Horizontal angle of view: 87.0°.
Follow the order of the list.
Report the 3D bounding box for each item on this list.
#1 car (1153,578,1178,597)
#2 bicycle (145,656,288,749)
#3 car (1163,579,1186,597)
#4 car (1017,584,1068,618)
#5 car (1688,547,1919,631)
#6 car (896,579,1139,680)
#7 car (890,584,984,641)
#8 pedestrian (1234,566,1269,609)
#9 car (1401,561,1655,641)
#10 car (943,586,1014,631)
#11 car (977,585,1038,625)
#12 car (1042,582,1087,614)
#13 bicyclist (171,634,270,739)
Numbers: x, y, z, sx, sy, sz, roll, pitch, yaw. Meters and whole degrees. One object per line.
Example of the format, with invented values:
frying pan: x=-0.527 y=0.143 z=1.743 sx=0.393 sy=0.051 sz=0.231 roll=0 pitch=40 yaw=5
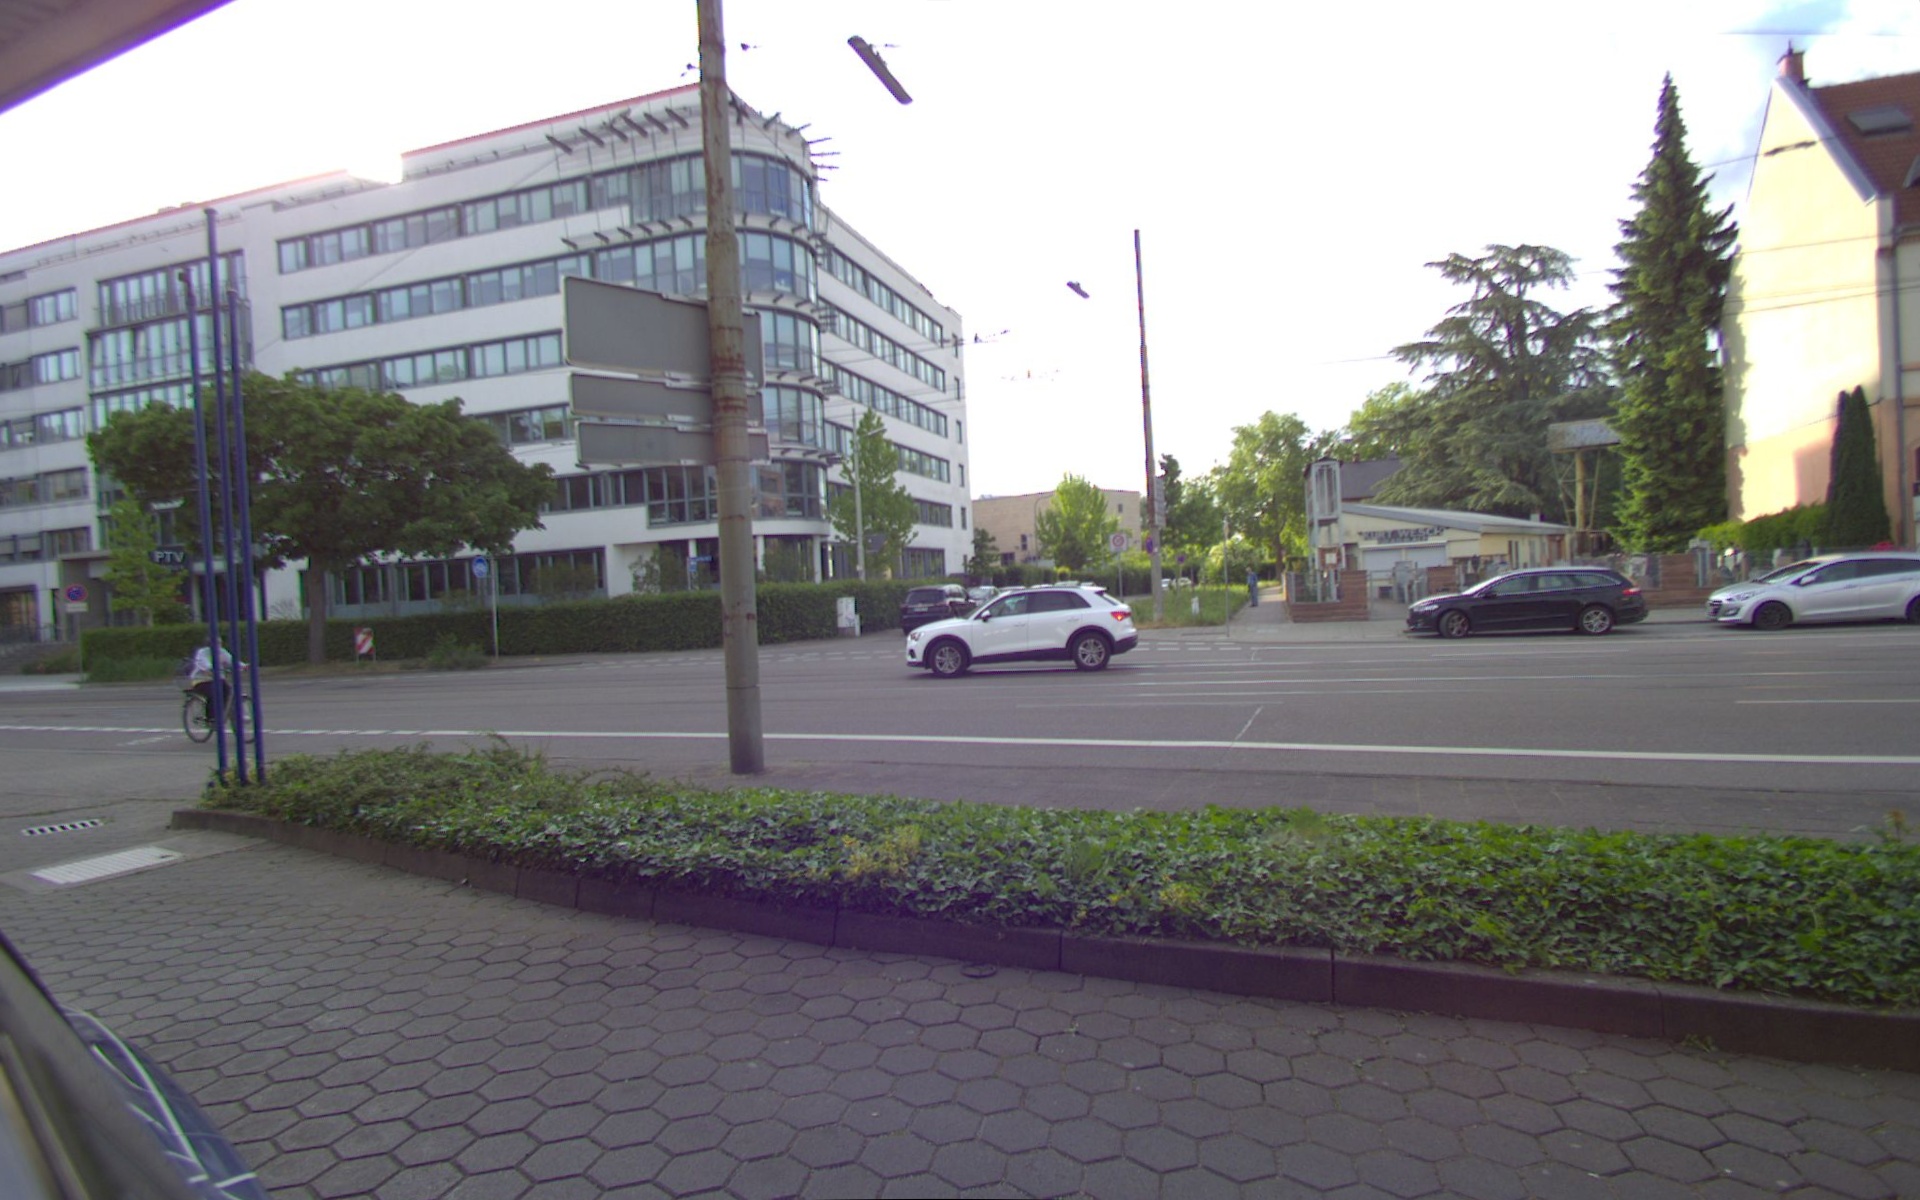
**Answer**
car: x=20.429 y=-1.250 z=100.614 sx=1.774 sy=1.653 sz=4.060 roll=-4 pitch=0 yaw=19
bicycle: x=-11.269 y=1.551 z=15.339 sx=1.924 sy=1.267 sz=0.731 roll=-3 pitch=2 yaw=20
car: x=22.568 y=-1.277 z=106.311 sx=1.774 sy=1.653 sz=4.060 roll=-4 pitch=0 yaw=19
car: x=4.288 y=0.031 z=52.360 sx=1.773 sy=1.552 sz=4.018 roll=-4 pitch=0 yaw=17
car: x=18.492 y=-0.256 z=21.498 sx=4.459 sy=1.486 sz=1.986 roll=-4 pitch=0 yaw=22
car: x=1.112 y=0.554 z=19.247 sx=4.330 sy=1.588 sz=1.837 roll=-3 pitch=-1 yaw=8
car: x=-0.722 y=0.385 z=35.537 sx=1.962 sy=1.625 sz=4.411 roll=-4 pitch=2 yaw=17
pedestrian: x=12.711 y=-0.523 z=44.156 sx=0.988 sy=1.843 sz=1.096 roll=-1 pitch=0 yaw=-28
car: x=12.916 y=0.046 z=23.415 sx=4.791 sy=1.507 sz=1.986 roll=-3 pitch=0 yaw=22
car: x=0.799 y=0.294 z=40.894 sx=1.773 sy=1.565 sz=4.083 roll=-4 pitch=0 yaw=17
car: x=2.207 y=0.182 z=45.756 sx=1.773 sy=1.565 sz=4.083 roll=-4 pitch=0 yaw=17
car: x=5.983 y=-0.126 z=57.661 sx=1.773 sy=1.653 sz=4.064 roll=-4 pitch=0 yaw=17
bicyclist: x=-11.164 y=1.293 z=15.295 sx=0.910 sy=1.470 sz=0.731 roll=-3 pitch=2 yaw=20
